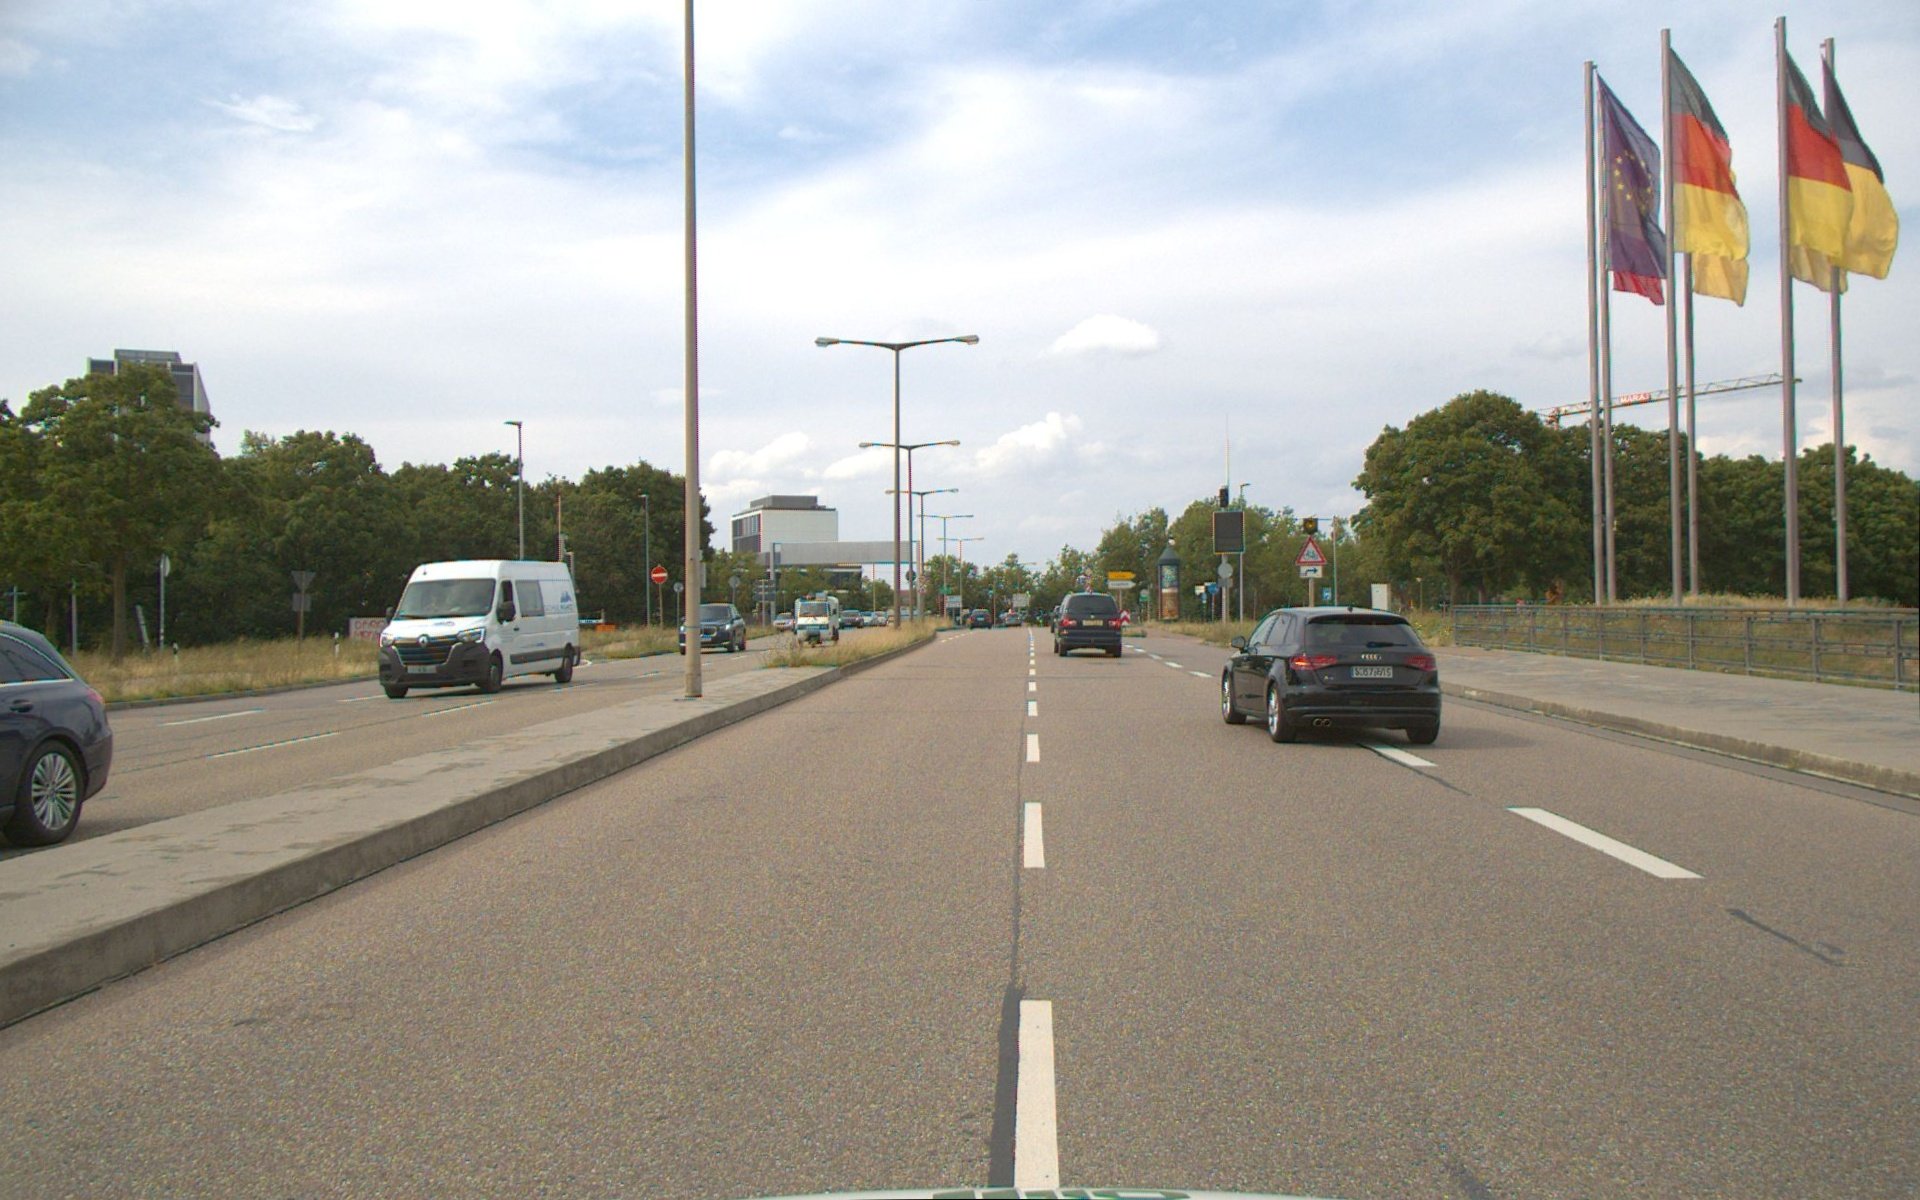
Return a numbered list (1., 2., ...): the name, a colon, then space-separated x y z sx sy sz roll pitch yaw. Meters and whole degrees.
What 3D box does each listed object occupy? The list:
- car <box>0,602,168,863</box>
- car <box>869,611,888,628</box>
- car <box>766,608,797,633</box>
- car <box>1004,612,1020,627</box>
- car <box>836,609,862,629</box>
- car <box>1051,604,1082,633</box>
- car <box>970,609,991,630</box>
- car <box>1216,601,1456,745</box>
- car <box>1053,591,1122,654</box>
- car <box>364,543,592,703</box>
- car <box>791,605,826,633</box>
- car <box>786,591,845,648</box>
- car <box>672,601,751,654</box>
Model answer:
1. car: -6.468 0.815 9.130 1.702 1.506 4.777 -2 0 2
2. car: -8.378 1.962 169.541 1.710 1.626 4.564 -2 0 -1
3. car: -13.669 1.552 126.710 1.953 1.780 4.000 0 0 -1
4. car: 5.555 2.029 176.338 1.695 1.553 4.115 0 0 1
5. car: -8.784 1.485 131.421 1.709 1.501 4.565 -2 0 0
6. car: 6.396 1.093 99.353 1.695 1.682 4.115 0 0 1
7. car: 1.719 1.596 137.002 1.695 1.682 4.115 0 0 1
8. car: 4.069 0.737 18.550 1.695 1.419 4.114 0 0 -1
9. car: 3.540 0.624 46.533 1.695 1.682 4.115 0 0 1
10. car: -9.065 0.367 31.840 2.010 2.689 6.403 -2 0 4
11. car: -9.274 1.136 101.446 1.617 1.602 4.338 -3 0 0
12. car: -5.115 0.669 58.937 1.508 1.903 3.572 -2 0 3
13. car: -8.355 0.904 55.977 1.710 1.613 4.588 -2 0 3
